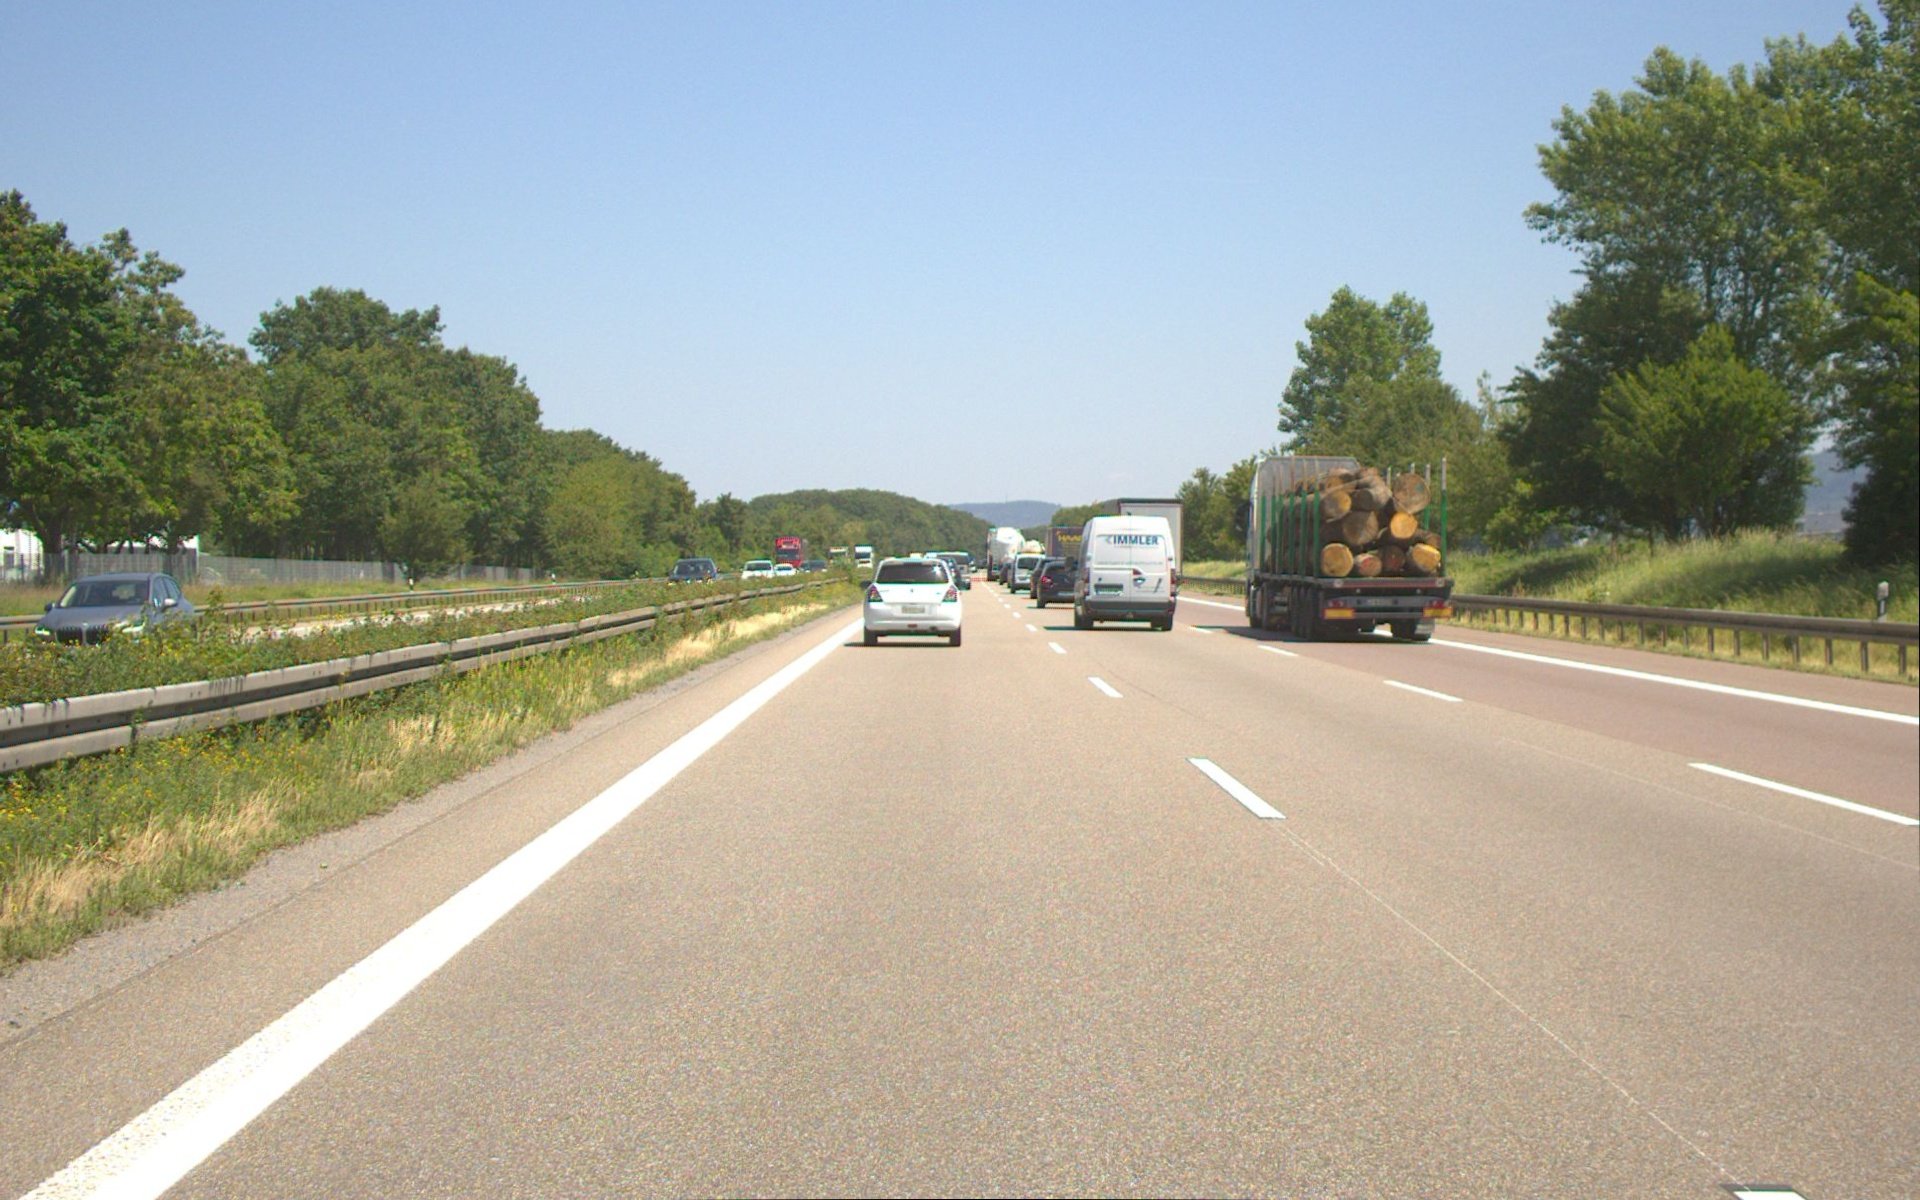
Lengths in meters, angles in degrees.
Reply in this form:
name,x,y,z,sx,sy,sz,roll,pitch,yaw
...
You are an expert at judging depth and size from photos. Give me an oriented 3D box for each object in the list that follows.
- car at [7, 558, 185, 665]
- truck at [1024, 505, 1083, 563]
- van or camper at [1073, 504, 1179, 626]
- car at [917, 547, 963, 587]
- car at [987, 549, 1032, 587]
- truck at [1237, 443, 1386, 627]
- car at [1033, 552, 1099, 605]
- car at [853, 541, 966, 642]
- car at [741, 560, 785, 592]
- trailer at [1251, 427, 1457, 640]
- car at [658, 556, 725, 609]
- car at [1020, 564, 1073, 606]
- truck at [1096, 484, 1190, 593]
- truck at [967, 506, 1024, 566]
name,x,y,z,sx,sy,sz,roll,pitch,yaw
car,-13.537,0.151,54.072,1.792,1.573,4.212,-1,1,-1
truck,7.059,-4.987,263.020,3.257,4.194,16.845,2,1,-2
van or camper,3.670,-0.785,77.079,2.058,2.613,5.985,1,1,0
car,-0.866,-1.403,146.912,1.857,1.646,4.000,1,1,-2
car,2.251,-1.463,156.889,1.857,1.646,4.000,1,1,-2
truck,7.948,-1.466,78.483,2.670,3.981,6.636,1,1,0
car,3.345,-0.686,109.433,1.857,1.646,4.000,1,1,-2
car,-0.909,-0.165,60.042,1.857,1.646,4.000,2,1,-2
car,-10.406,-1.283,181.820,1.993,1.634,4.572,2,1,0
trailer,7.949,-1.330,71.167,2.653,3.945,13.637,1,1,0
car,-9.927,-0.655,127.428,1.993,1.880,5.648,2,1,0
car,3.415,-0.610,136.347,1.857,1.646,4.000,1,1,-2
truck,7.566,-2.501,144.055,3.079,4.194,16.843,2,1,1
truck,2.538,-4.618,252.149,3.257,4.194,16.845,2,1,-2
